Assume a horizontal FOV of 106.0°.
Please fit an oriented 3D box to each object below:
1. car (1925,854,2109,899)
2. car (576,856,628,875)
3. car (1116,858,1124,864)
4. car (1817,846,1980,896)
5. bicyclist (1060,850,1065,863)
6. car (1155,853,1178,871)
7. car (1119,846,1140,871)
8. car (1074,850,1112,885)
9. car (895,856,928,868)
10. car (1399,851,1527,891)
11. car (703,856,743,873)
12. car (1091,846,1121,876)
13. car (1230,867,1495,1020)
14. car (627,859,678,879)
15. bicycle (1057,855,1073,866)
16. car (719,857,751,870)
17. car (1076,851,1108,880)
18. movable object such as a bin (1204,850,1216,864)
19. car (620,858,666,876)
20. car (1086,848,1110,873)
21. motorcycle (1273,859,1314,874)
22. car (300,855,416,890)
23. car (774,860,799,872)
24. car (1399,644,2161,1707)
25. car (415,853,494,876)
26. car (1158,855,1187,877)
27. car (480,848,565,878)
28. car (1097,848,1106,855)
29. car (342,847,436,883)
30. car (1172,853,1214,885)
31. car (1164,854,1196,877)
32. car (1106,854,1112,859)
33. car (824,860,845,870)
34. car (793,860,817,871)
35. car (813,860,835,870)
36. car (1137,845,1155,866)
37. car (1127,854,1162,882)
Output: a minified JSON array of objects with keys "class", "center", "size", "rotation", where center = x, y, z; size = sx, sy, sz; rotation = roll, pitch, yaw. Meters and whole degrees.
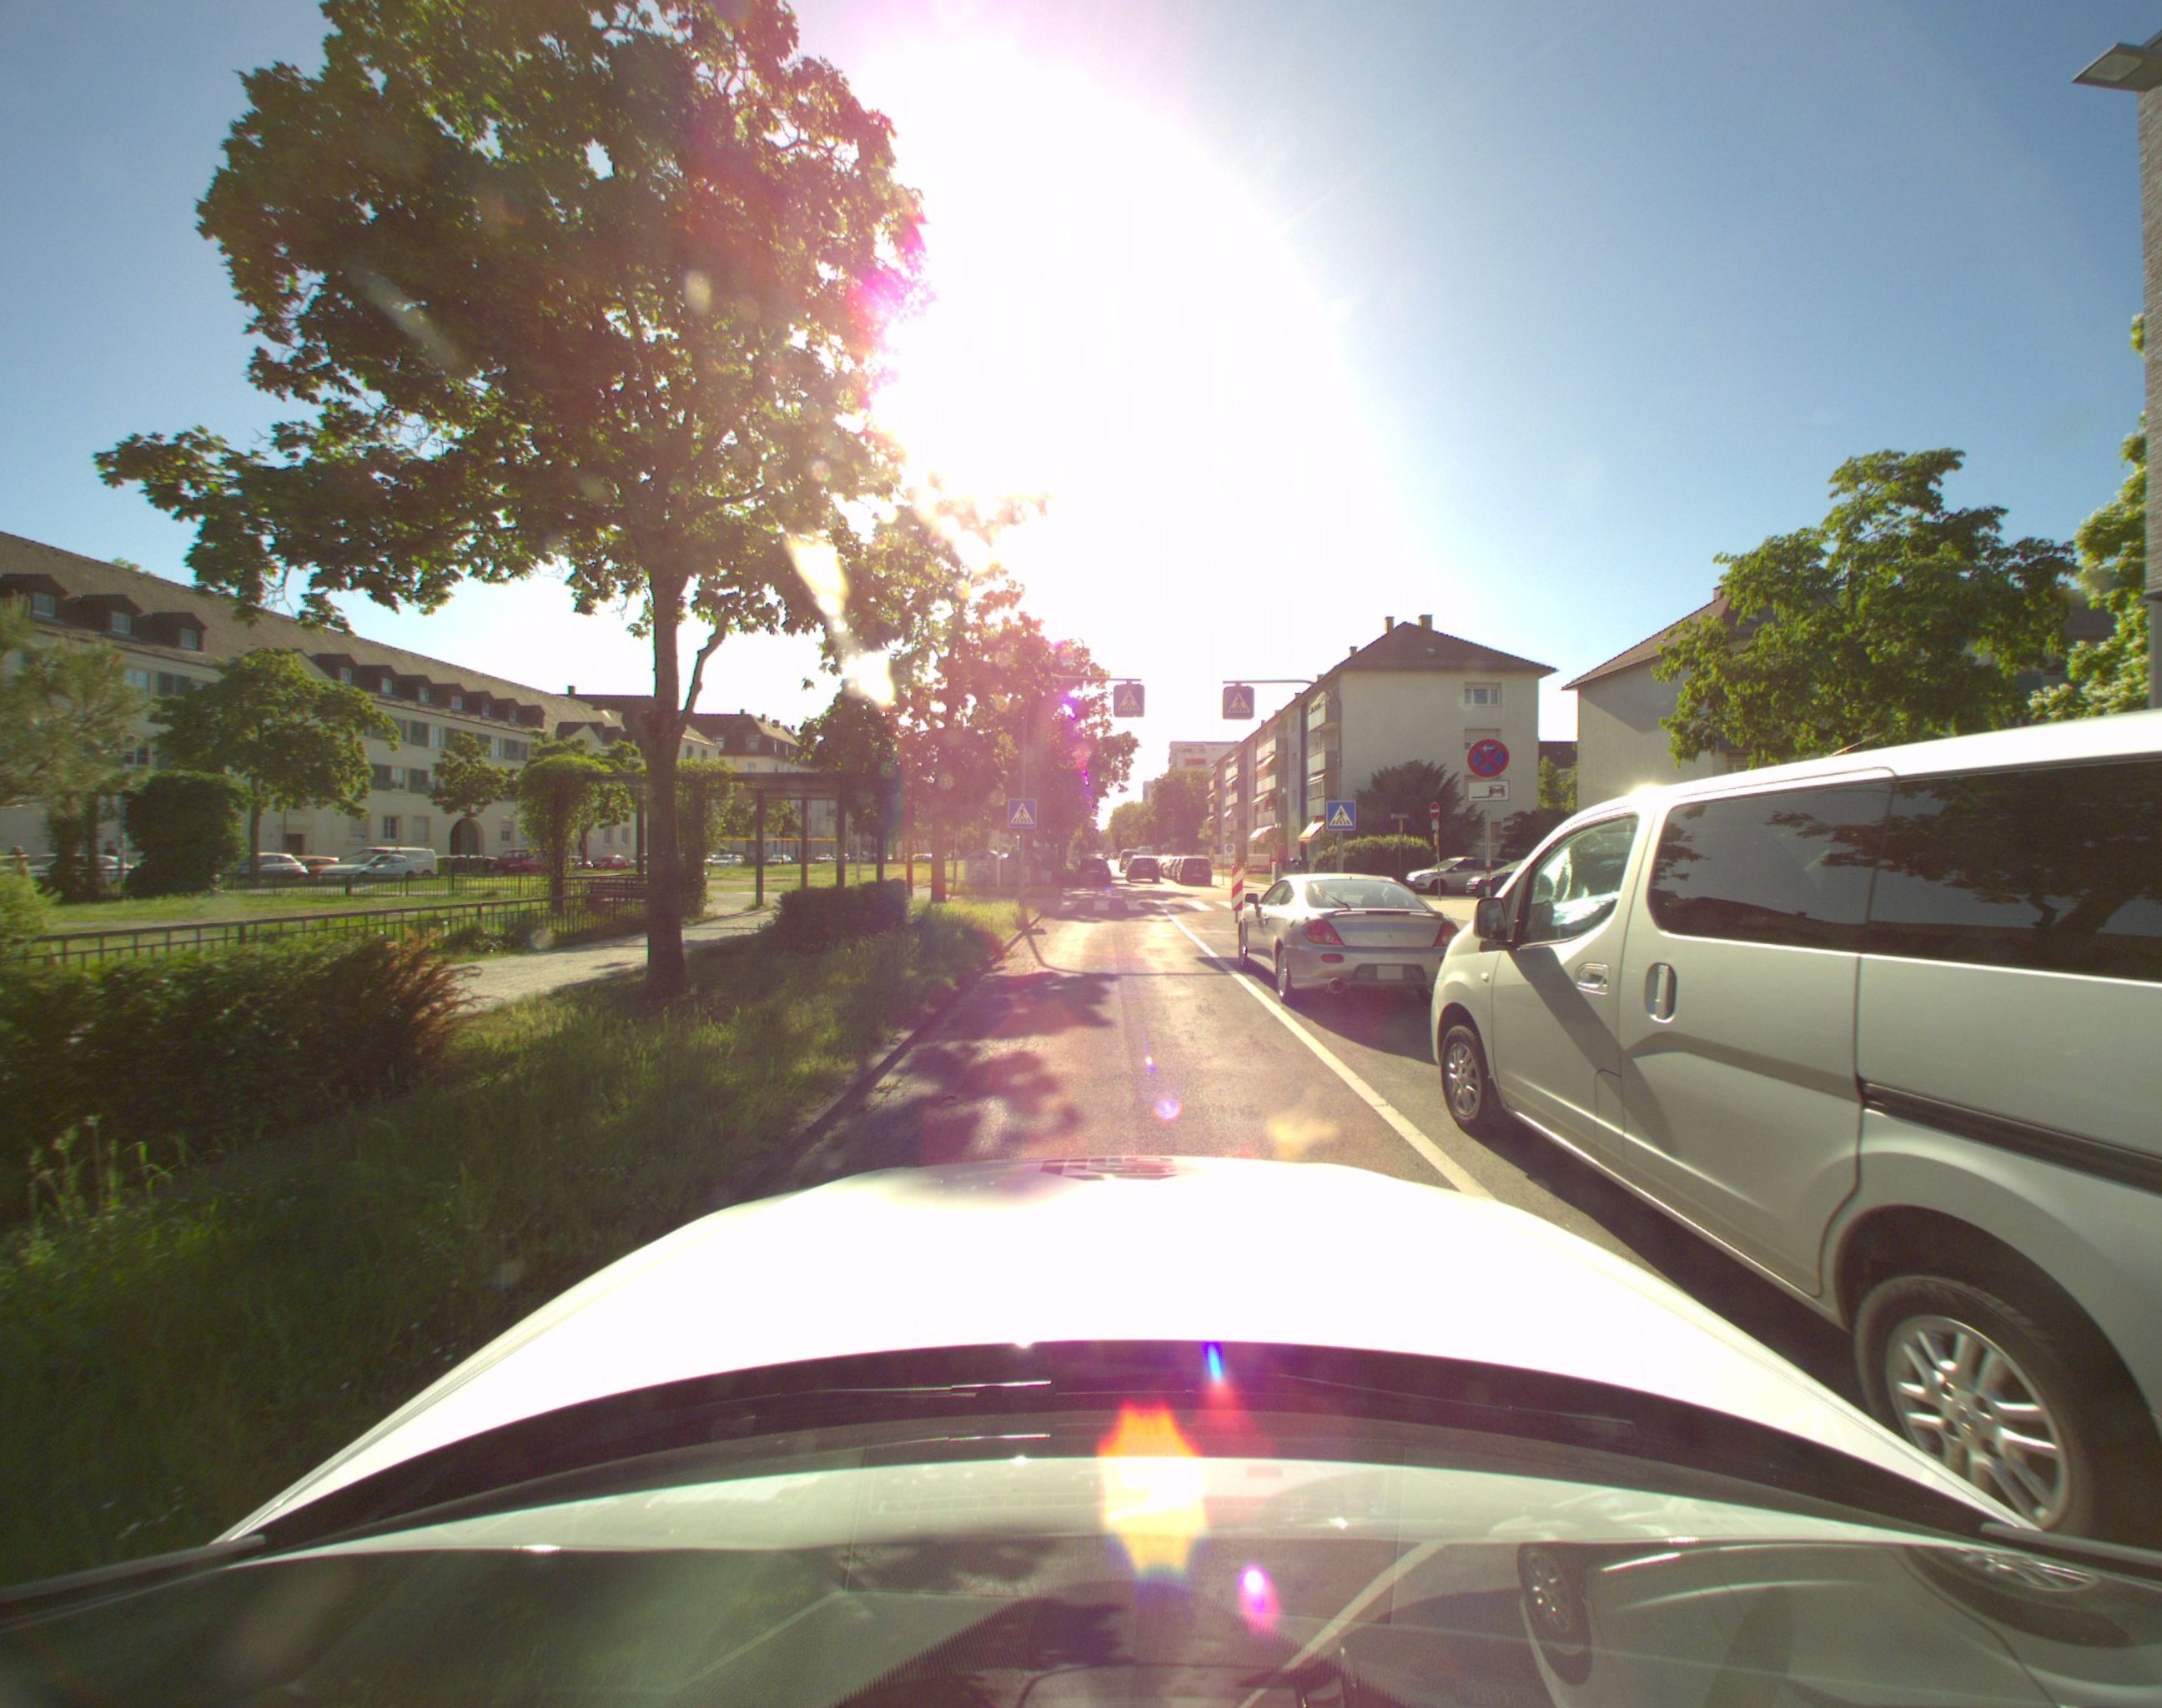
[{"class":"car","center":[32.728,0.803,28.557],"size":[4.467,1.510,1.799],"rotation":[0,-2,-1]},{"class":"car","center":[-38.930,0.932,66.296],"size":[1.787,1.510,4.002],"rotation":[0,0,2]},{"class":"car","center":[9.061,1.613,188.912],"size":[1.787,1.510,4.002],"rotation":[-1,0,2]},{"class":"car","center":[31.077,0.657,31.040],"size":[4.467,1.822,1.799],"rotation":[0,-2,-1]},{"class":"bicyclist","center":[-2.720,0.413,118.851],"size":[0.768,1.920,0.630],"rotation":[-1,0,-3]},{"class":"car","center":[7.390,0.655,70.710],"size":[1.787,1.510,4.002],"rotation":[0,0,2]},{"class":"car","center":[4.336,0.374,72.825],"size":[1.787,2.122,4.002],"rotation":[0,0,2]},{"class":"car","center":[0.643,0.633,40.776],"size":[1.787,1.624,4.002],"rotation":[1,0,2]},{"class":"car","center":[-22.261,1.012,107.271],"size":[3.977,1.510,1.799],"rotation":[0,0,-2]},{"class":"car","center":[15.768,0.711,33.734],"size":[4.467,1.622,1.799],"rotation":[0,-2,-1]},{"class":"car","center":[-33.168,0.924,75.591],"size":[1.787,1.510,4.002],"rotation":[0,0,2]},{"class":"car","center":[1.780,0.486,57.812],"size":[1.986,2.013,4.002],"rotation":[-1,0,2]},{"class":"car","center":[2.926,0.838,9.449],"size":[1.758,1.319,4.170],"rotation":[1,-1,2]},{"class":"car","center":[-33.676,1.159,64.109],"size":[1.787,1.510,4.002],"rotation":[0,0,2]},{"class":"bicycle","center":[-2.376,0.941,118.871],"size":[2.317,1.540,0.630],"rotation":[-1,0,-3]},{"class":"car","center":[-38.949,1.053,91.681],"size":[1.787,1.510,4.002],"rotation":[0,0,2]},{"class":"car","center":[0.681,0.641,47.255],"size":[1.787,1.624,4.002],"rotation":[1,0,2]},{"class":"movable object such as a bin","center":[14.271,0.360,90.100],"size":[1.087,1.510,2.003],"rotation":[0,0,2]},{"class":"car","center":[-38.802,1.096,72.252],"size":[1.787,1.510,4.002],"rotation":[0,0,2]},{"class":"car","center":[1.466,0.551,69.903],"size":[1.986,2.013,4.002],"rotation":[-1,0,2]},{"class":"motorcycle","center":[14.408,0.839,55.316],"size":[2.551,0.935,0.830],"rotation":[0,0,-2]},{"class":"car","center":[-33.776,0.825,38.204],"size":[1.787,1.510,4.002],"rotation":[0,0,2]},{"class":"car","center":[-38.830,1.548,107.513],"size":[1.787,1.510,4.002],"rotation":[0,0,2]},{"class":"car","center":[2.880,0.563,3.181],"size":[1.786,1.855,4.417],"rotation":[1,0,4]},{"class":"car","center":[-39.454,0.647,51.413],"size":[1.787,1.384,4.002],"rotation":[0,0,2]},{"class":"car","center":[6.602,0.838,59.025],"size":[1.787,1.510,4.002],"rotation":[0,0,2]},{"class":"car","center":[-33.780,0.534,49.418],"size":[1.787,1.710,4.705],"rotation":[0,0,2]},{"class":"car","center":[4.225,-0.463,165.583],"size":[1.787,1.510,4.002],"rotation":[-1,0,2]},{"class":"car","center":[-39.096,0.584,46.130],"size":[1.787,1.909,4.002],"rotation":[0,0,2]},{"class":"car","center":[5.855,0.743,42.823],"size":[1.787,1.601,4.002],"rotation":[1,0,2]},{"class":"car","center":[6.485,0.733,53.859],"size":[1.787,1.510,4.002],"rotation":[0,0,2]},{"class":"car","center":[8.729,0.741,256.914],"size":[1.787,1.510,4.002],"rotation":[-1,0,2]},{"class":"car","center":[-37.861,1.628,125.206],"size":[1.787,1.510,4.002],"rotation":[0,0,2]},{"class":"car","center":[-38.385,1.551,113.303],"size":[1.787,1.510,4.146],"rotation":[0,0,2]},{"class":"car","center":[-37.792,1.612,119.733],"size":[1.788,1.510,4.001],"rotation":[0,0,1]},{"class":"car","center":[8.082,0.204,101.323],"size":[1.986,2.430,4.502],"rotation":[2,0,2]},{"class":"car","center":[3.515,0.743,45.842],"size":[1.787,1.510,4.002],"rotation":[0,0,2]}]
